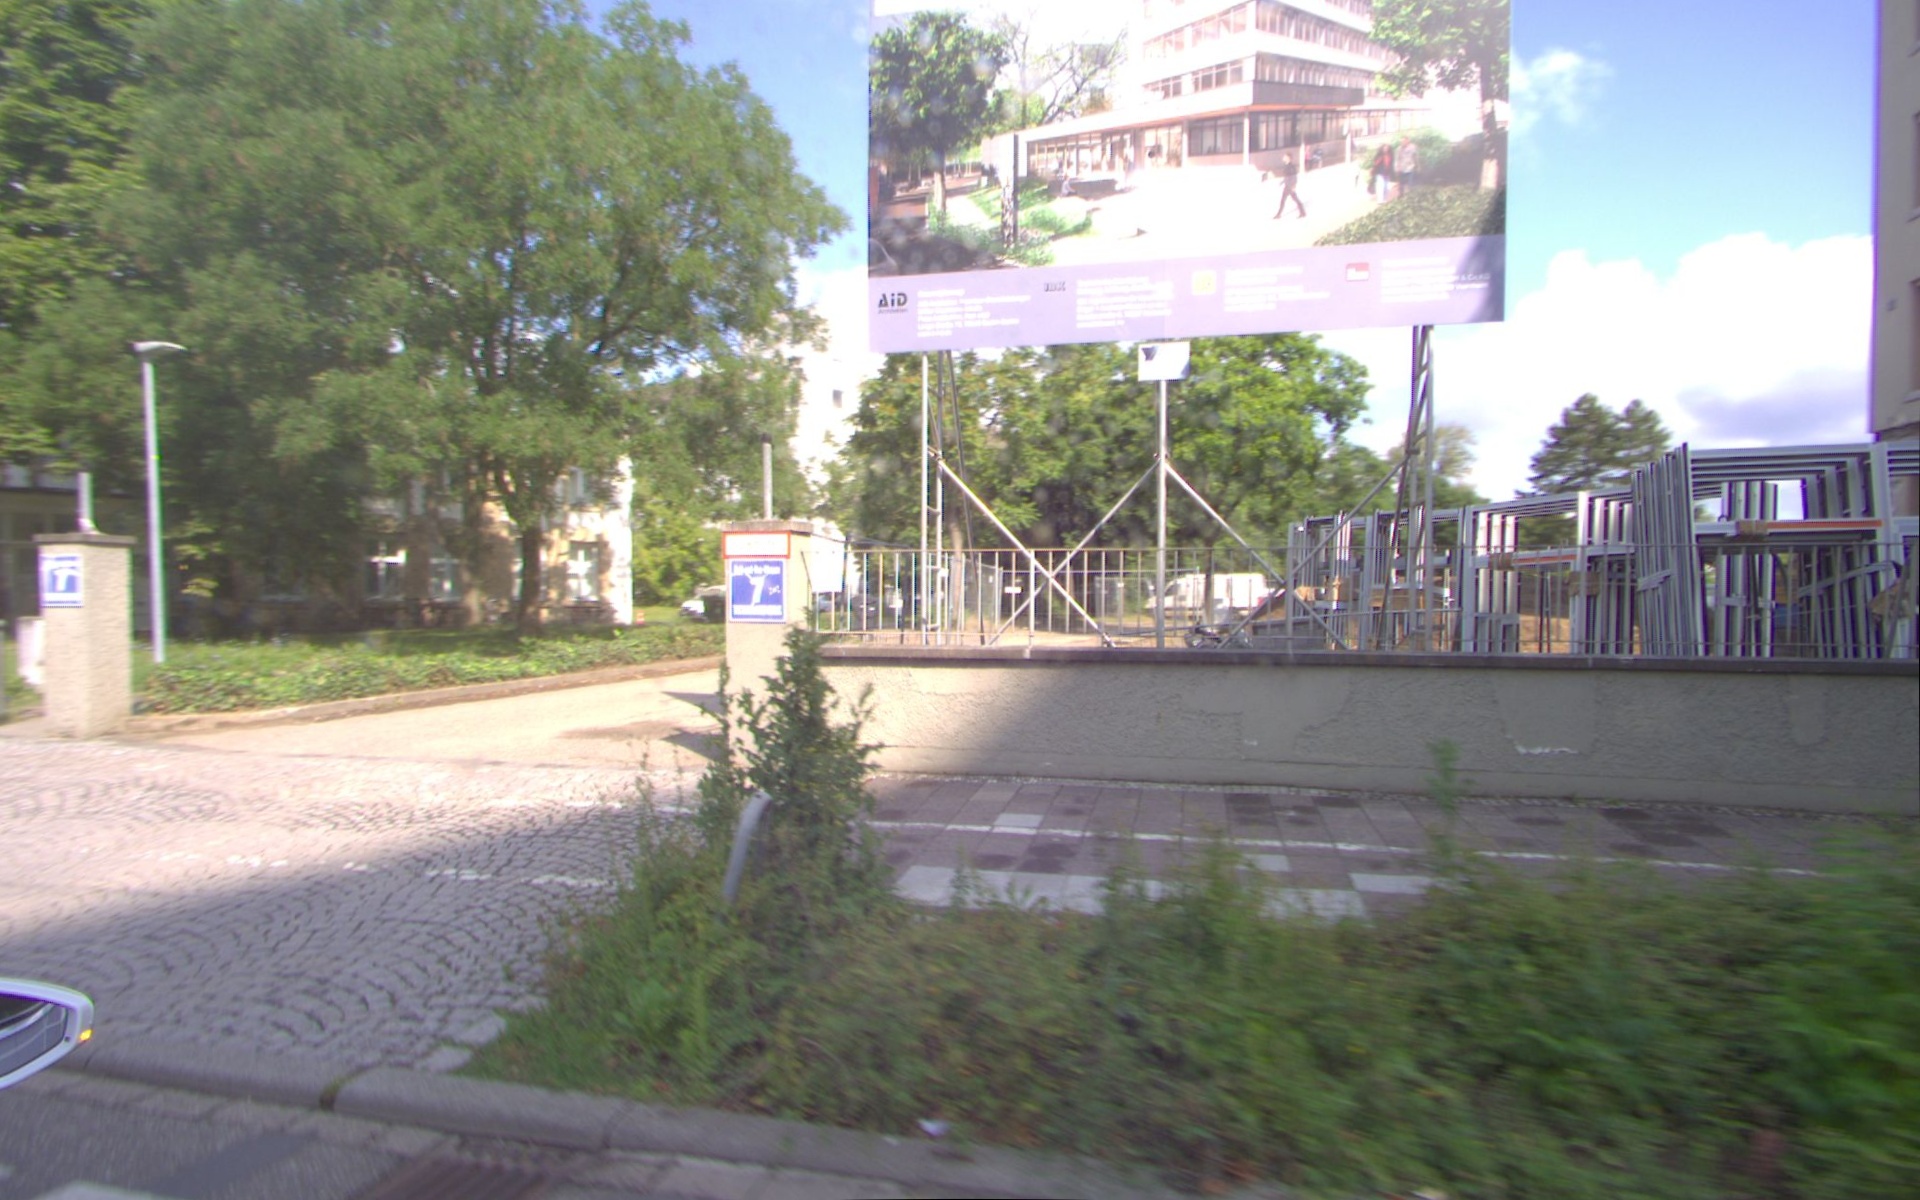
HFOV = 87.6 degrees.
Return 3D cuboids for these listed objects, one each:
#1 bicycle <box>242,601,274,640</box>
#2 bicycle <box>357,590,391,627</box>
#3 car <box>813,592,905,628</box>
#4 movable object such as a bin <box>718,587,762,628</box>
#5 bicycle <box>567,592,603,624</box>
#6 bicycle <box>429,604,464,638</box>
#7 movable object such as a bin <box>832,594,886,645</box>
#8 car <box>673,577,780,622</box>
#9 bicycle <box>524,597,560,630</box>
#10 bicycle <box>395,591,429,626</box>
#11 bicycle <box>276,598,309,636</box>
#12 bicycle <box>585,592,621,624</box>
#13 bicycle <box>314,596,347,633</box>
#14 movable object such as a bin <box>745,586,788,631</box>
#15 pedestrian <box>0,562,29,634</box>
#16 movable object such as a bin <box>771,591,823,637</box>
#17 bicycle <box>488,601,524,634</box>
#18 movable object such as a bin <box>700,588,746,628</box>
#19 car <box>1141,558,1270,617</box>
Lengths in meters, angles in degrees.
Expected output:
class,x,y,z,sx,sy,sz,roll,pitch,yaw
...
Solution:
class,x,y,z,sx,sy,sz,roll,pitch,yaw
bicycle,-20.791,0.624,29.648,0.416,1.070,2.047,-2,-1,-44
bicycle,-18.559,0.274,31.695,0.416,1.070,2.047,-2,-1,-44
car,-4.374,0.418,43.785,1.739,1.438,3.885,-4,-2,41
movable object such as a bin,-7.746,0.266,35.266,1.218,1.365,0.941,-2,-4,35
bicycle,-13.755,0.312,36.682,0.416,1.069,2.047,3,-4,-44
bicycle,-16.968,0.706,33.067,0.416,1.070,2.047,-2,-1,-45
movable object such as a bin,-3.125,0.597,30.888,1.232,1.501,1.290,2,-1,-29
car,-11.540,-0.004,49.743,1.980,1.988,4.912,-6,-5,42
bicycle,-14.820,0.487,35.453,0.416,1.070,2.047,-2,-1,-45
bicycle,-17.910,0.294,32.715,0.416,1.070,2.047,-2,-1,-44
bicycle,-20.150,0.536,30.218,0.416,1.070,2.047,-2,-1,-45
bicycle,-13.254,0.306,37.169,0.416,1.069,2.047,3,-4,-44
bicycle,-19.546,0.462,31.086,0.416,1.070,2.047,-2,-1,-45
movable object such as a bin,-6.681,0.304,34.546,1.218,1.469,0.875,-2,-3,35
pedestrian,-23.360,-0.040,24.473,0.799,1.698,0.767,-2,-4,40
movable object such as a bin,-5.476,0.493,33.673,1.326,1.469,1.097,-2,-4,36
bicycle,-15.722,0.623,34.644,0.416,1.070,2.047,-2,-1,-45
movable object such as a bin,-8.626,0.301,36.453,1.363,1.365,0.941,-2,-4,35
car,13.940,-0.640,56.972,6.864,3.086,1.994,-1,-1,26
